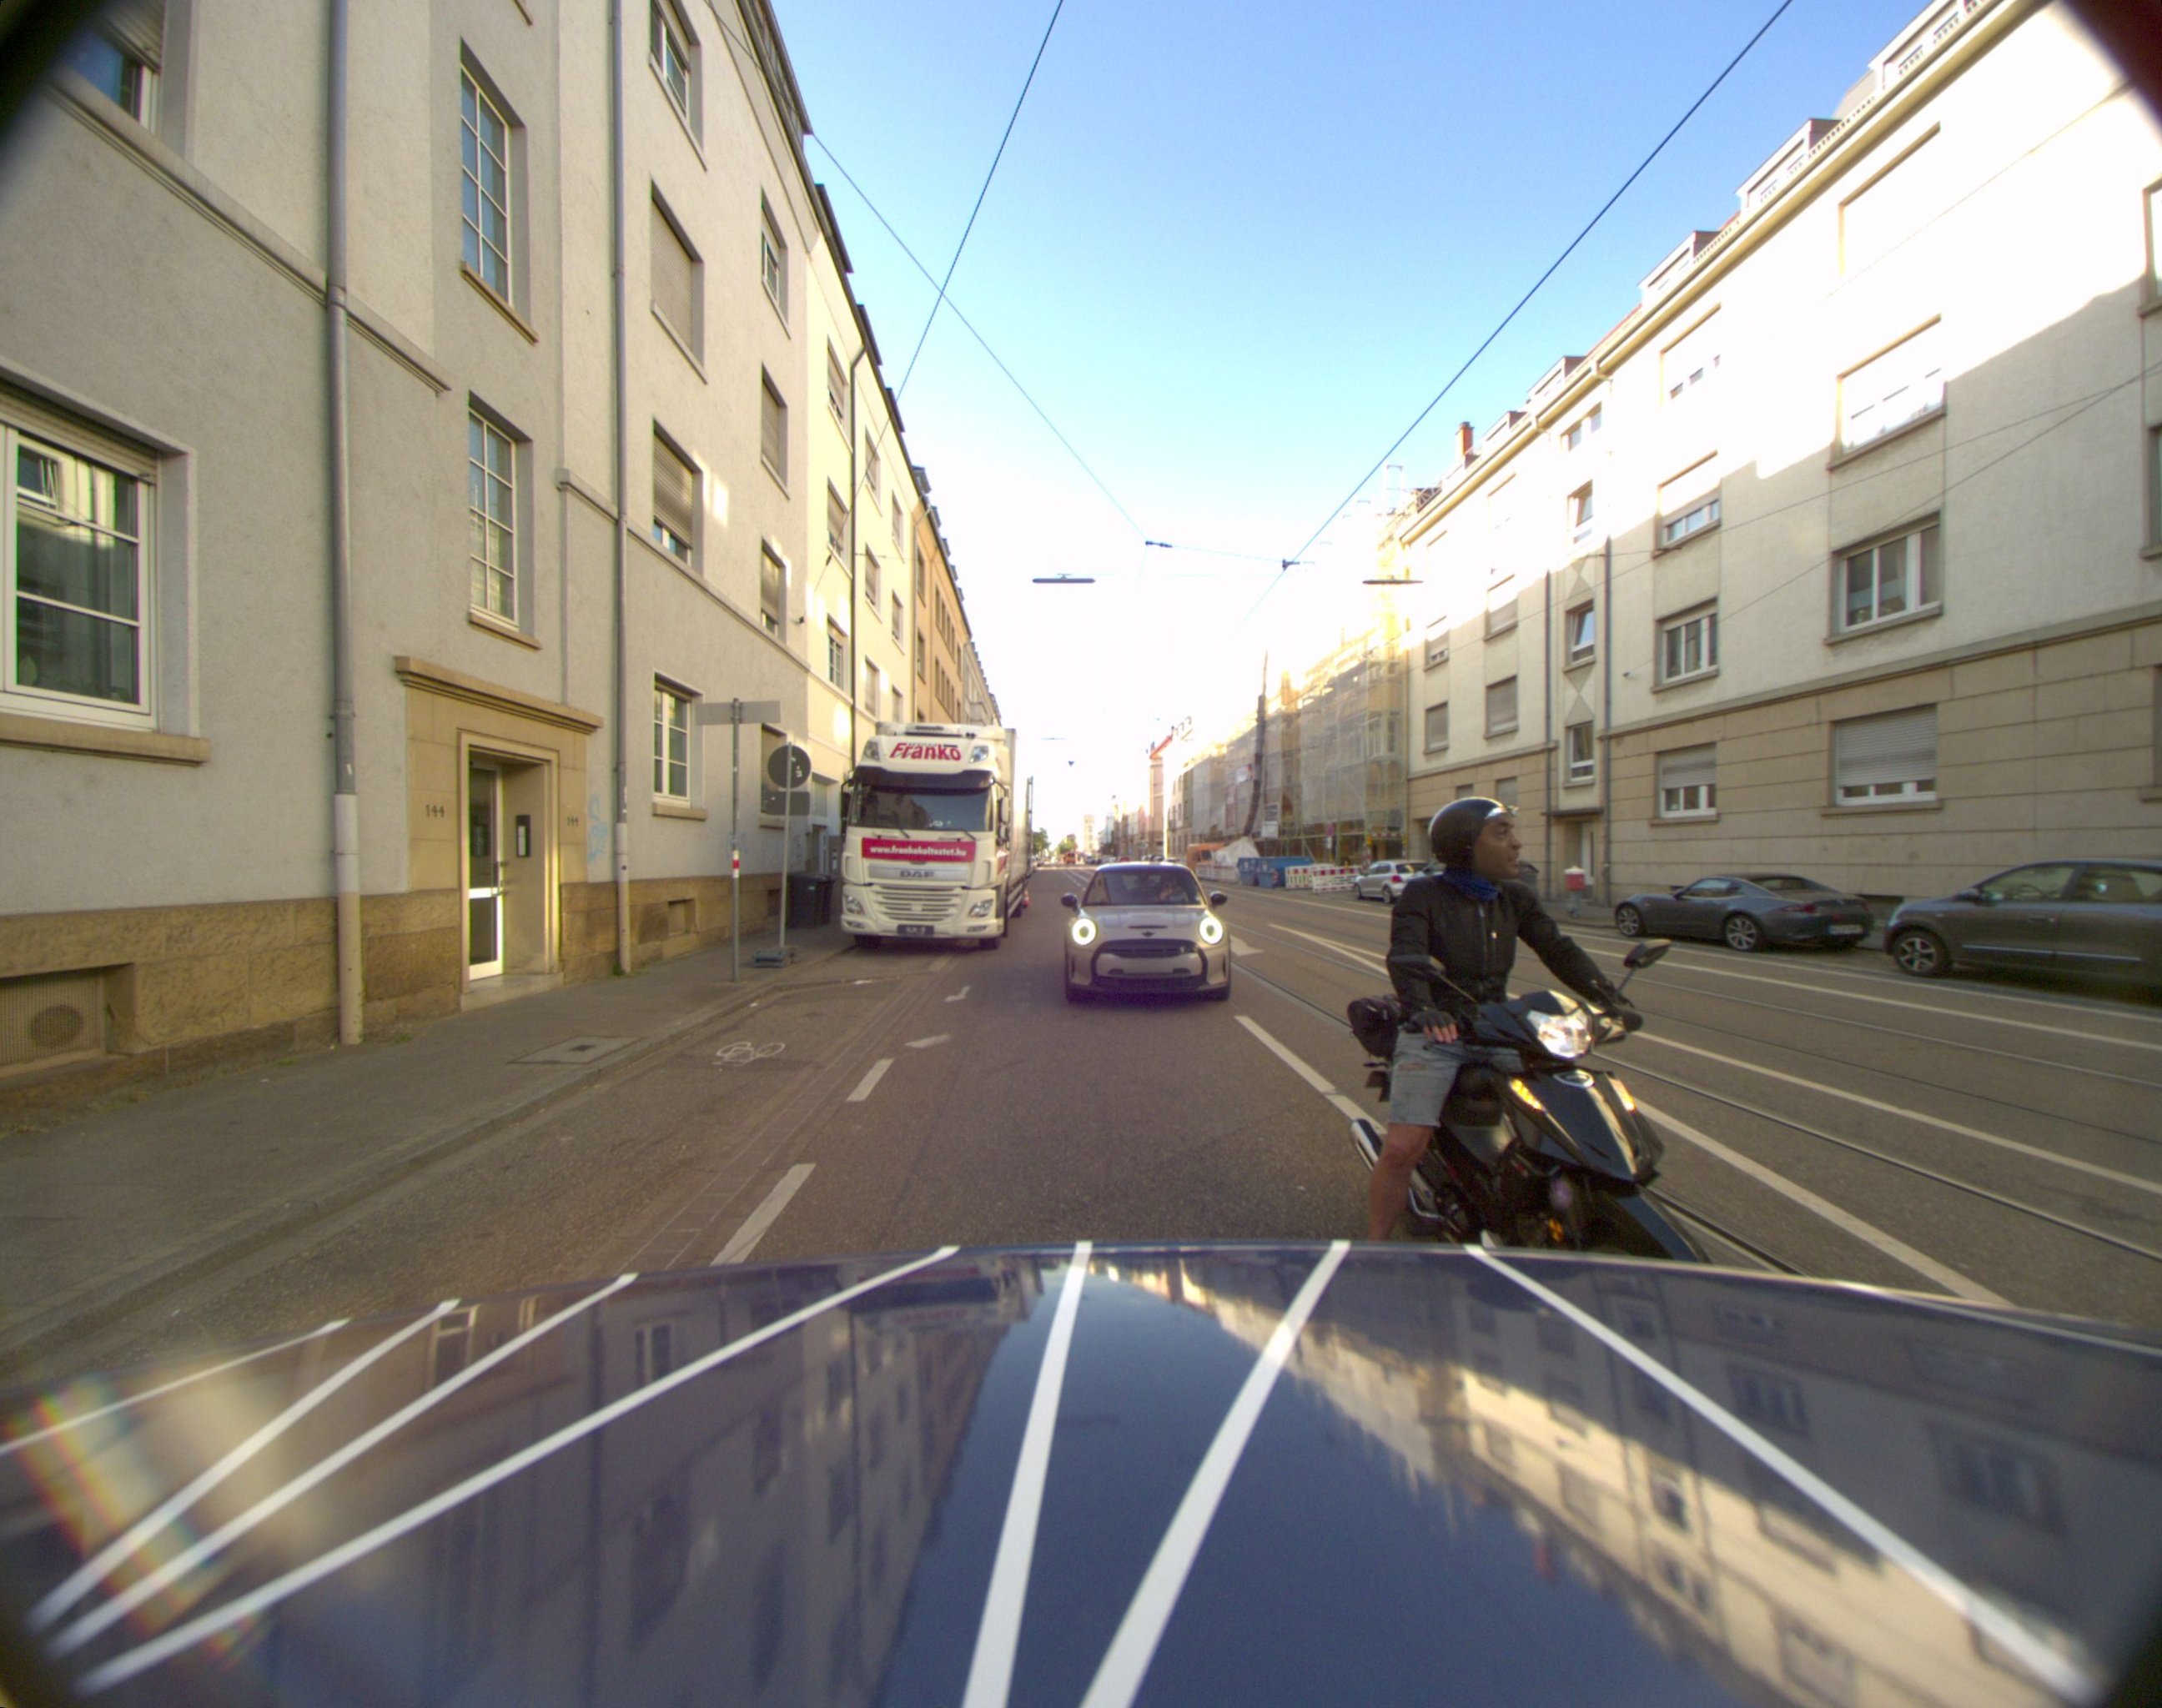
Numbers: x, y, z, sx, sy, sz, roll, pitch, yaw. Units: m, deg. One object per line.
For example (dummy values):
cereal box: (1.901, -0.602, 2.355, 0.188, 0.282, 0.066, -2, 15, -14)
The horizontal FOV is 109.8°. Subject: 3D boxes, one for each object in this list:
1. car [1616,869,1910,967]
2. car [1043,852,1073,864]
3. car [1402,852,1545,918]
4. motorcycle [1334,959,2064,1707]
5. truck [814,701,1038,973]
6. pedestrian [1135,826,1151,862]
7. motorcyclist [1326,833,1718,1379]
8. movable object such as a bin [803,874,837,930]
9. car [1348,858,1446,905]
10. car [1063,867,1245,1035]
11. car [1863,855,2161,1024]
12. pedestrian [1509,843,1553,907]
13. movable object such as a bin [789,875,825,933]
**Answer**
car: (11.258, 0.966, 12.905, 1.751, 1.269, 3.488, -2, 1, -4)
car: (-3.107, 0.568, 104.252, 3.998, 1.468, 2.149, -2, 1, -2)
car: (10.810, 0.778, 21.296, 1.712, 1.582, 4.112, -2, 1, -3)
motorcycle: (1.349, 1.070, 2.236, 0.538, 1.212, 1.981, -2, 1, 1)
truck: (-2.625, -0.247, 17.185, 2.899, 3.939, 11.704, -2, 0, -2)
pedestrian: (7.722, -1.281, 94.497, 1.723, 4.377, 1.153, -2, 1, 2)
motorcyclist: (1.323, 0.704, 2.407, 0.862, 1.496, 0.598, -2, 1, 1)
movable object such as a bin: (-5.352, 0.981, 15.613, 0.512, 1.085, 0.495, -2, 1, -4)
car: (10.636, 0.873, 25.869, 1.637, 1.383, 3.643, -2, 1, -3)
car: (0.674, 0.936, 9.066, 1.692, 1.495, 4.000, 0, 0, 0)
car: (11.352, 0.844, 8.427, 1.670, 1.563, 3.496, -2, 1, -2)
pedestrian: (12.745, 0.583, 21.544, 0.751, 1.753, 0.776, -2, 1, 1)
movable object such as a bin: (-5.405, 0.982, 15.024, 0.512, 1.085, 0.495, -2, 1, -4)
